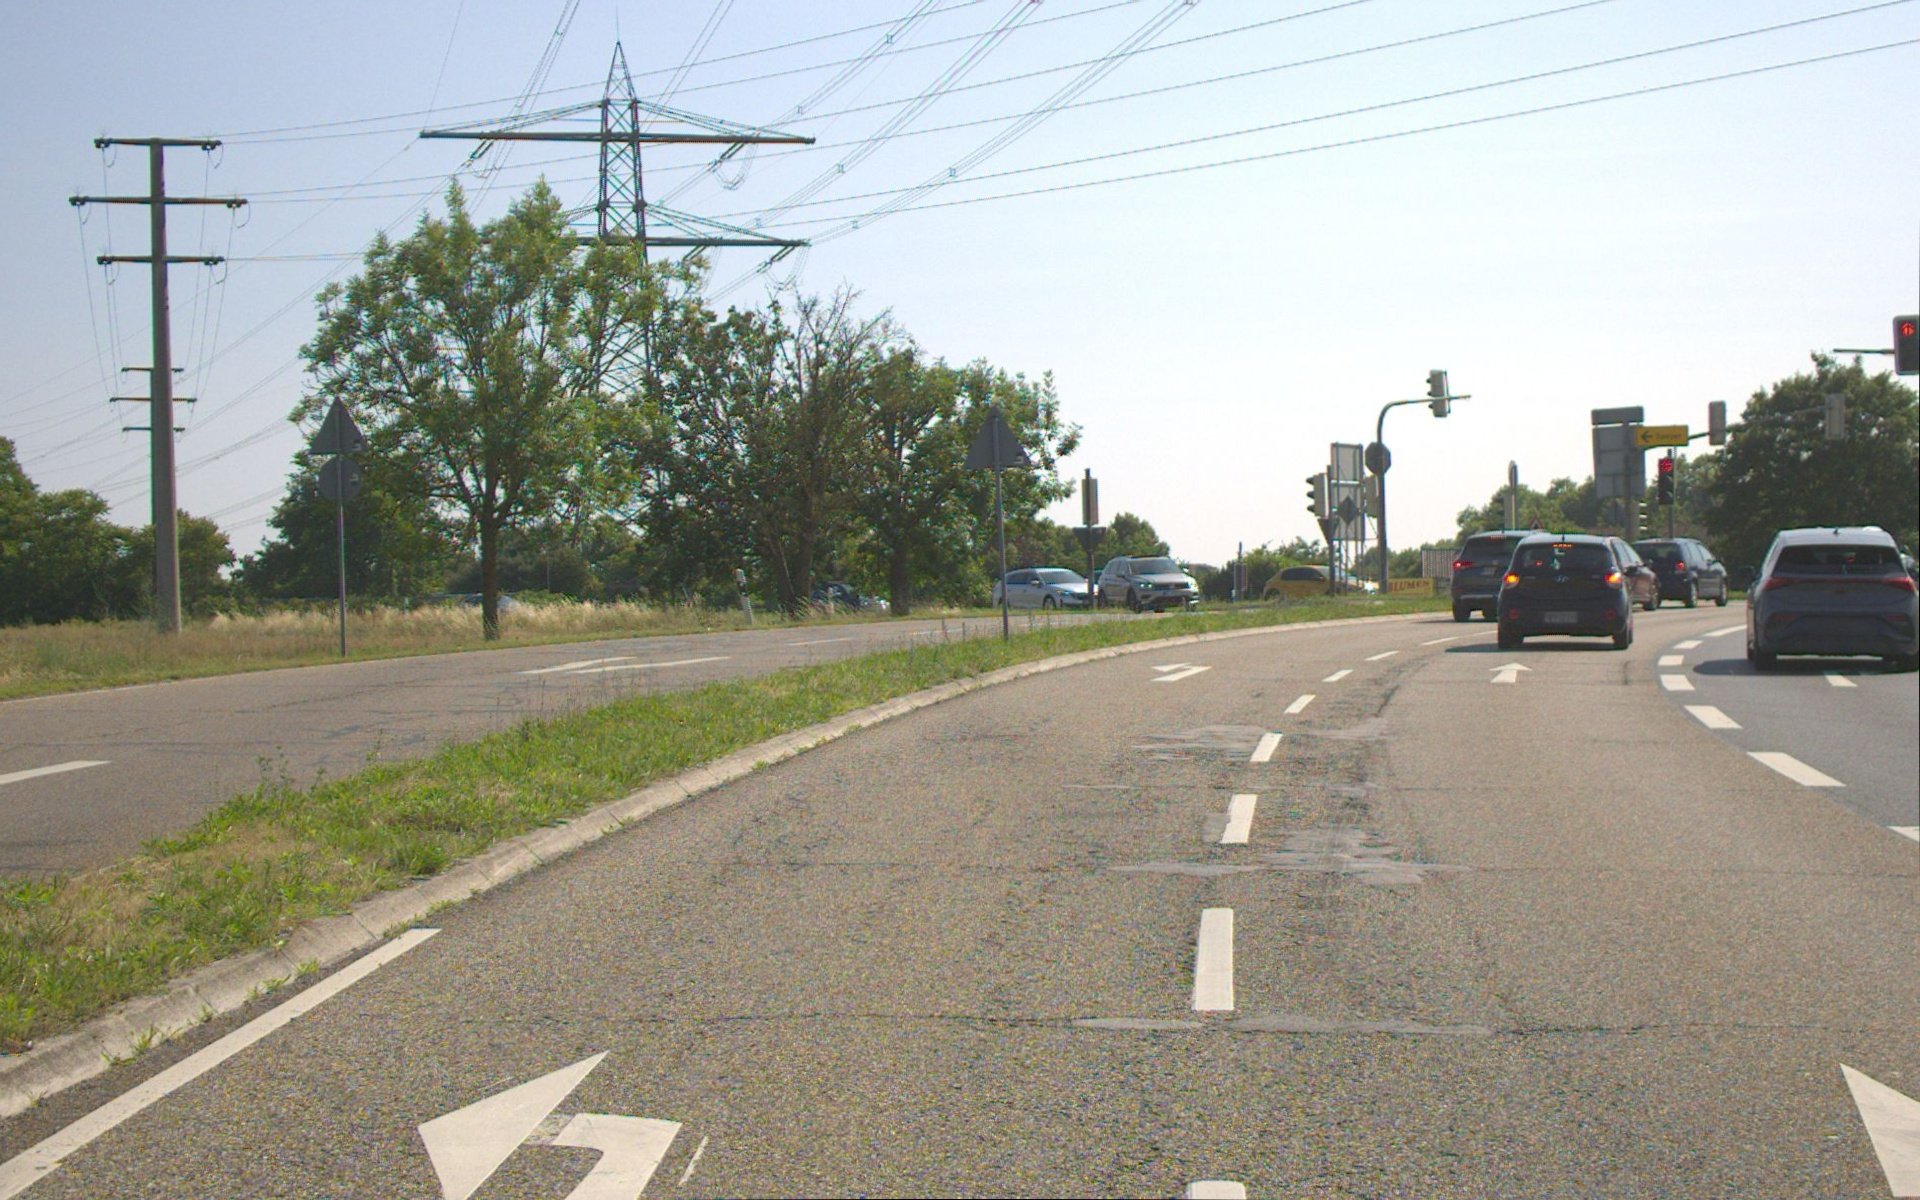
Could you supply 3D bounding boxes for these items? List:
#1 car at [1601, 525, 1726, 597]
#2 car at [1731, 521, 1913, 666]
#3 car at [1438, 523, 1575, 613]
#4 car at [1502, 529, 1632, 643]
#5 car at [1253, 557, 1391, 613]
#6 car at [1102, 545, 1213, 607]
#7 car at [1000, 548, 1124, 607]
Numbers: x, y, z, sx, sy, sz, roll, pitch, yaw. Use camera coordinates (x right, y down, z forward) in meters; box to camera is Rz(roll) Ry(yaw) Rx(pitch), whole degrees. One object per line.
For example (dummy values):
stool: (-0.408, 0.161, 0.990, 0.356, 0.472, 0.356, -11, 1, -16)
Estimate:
car: (14.909, -0.817, 72.730, 1.744, 1.479, 3.619, 1, 1, 26)
car: (9.583, -0.115, 38.432, 1.774, 1.512, 4.097, -1, 1, 12)
car: (9.841, -0.582, 61.731, 1.744, 1.563, 3.620, 0, 1, 20)
car: (8.016, -0.207, 45.266, 1.633, 1.443, 3.293, 0, 1, 11)
car: (11.010, -0.452, 104.843, 1.815, 1.645, 3.998, -1, 0, -41)
car: (5.439, -0.652, 95.278, 1.814, 1.645, 4.001, -1, 0, -16)
car: (2.992, -0.653, 101.546, 1.814, 1.645, 4.000, -1, 0, -29)
